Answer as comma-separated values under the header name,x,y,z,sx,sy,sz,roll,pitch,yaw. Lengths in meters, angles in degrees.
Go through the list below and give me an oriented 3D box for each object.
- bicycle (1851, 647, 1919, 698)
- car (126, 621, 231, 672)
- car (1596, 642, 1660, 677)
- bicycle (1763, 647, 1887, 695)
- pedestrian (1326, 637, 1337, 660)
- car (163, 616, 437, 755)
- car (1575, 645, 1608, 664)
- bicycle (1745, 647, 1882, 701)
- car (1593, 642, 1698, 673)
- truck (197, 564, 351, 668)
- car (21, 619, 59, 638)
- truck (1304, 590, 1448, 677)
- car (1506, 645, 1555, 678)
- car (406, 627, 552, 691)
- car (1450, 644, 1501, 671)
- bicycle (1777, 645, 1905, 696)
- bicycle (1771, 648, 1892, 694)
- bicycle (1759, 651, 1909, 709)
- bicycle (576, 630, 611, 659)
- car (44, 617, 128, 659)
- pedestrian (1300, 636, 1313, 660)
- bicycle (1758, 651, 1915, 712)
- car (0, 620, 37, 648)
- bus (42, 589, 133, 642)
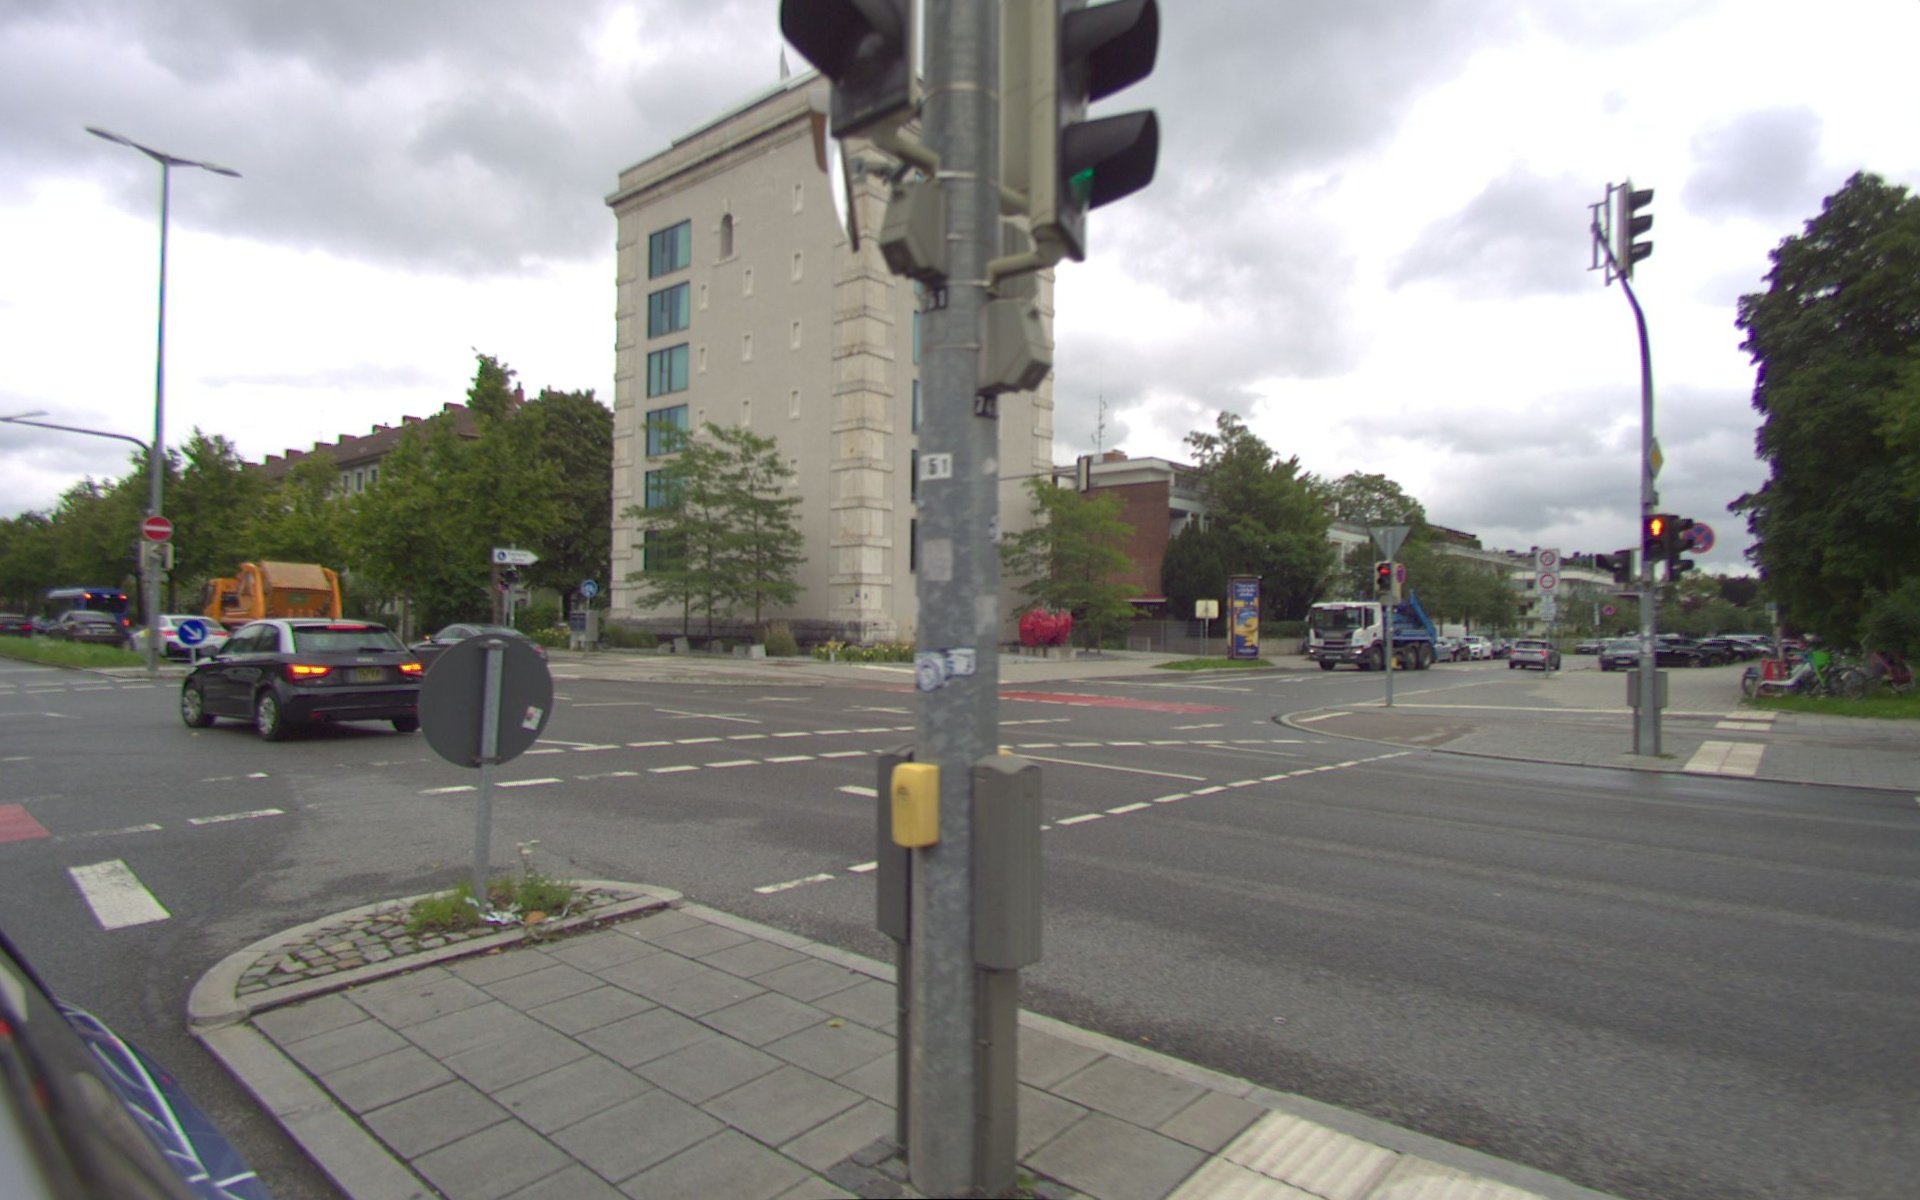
name,x,y,z,sx,sy,sz,roll,pitch,yaw
bicycle,23.593,1.781,24.583,2.882,1.195,0.827,-1,-2,40
car,-24.814,1.436,32.058,4.740,1.498,1.709,-1,-2,41
car,29.848,2.634,45.156,1.844,1.427,4.157,-1,-2,41
bicycle,23.356,1.882,27.400,2.494,1.195,0.827,-1,-2,40
pedestrian,22.532,2.938,61.423,0.543,1.425,0.596,-1,-2,30
car,-8.312,0.960,12.661,3.773,1.498,1.625,-1,-2,36
car,56.900,4.874,91.210,1.926,1.603,4.158,-1,-2,41
bicycle,20.625,1.776,24.538,2.494,1.195,0.827,-1,-2,40
car,34.322,2.855,50.790,4.198,1.427,1.907,-1,-2,30
truck,-24.684,0.596,36.284,7.262,3.382,2.751,-1,-2,41
car,-74.941,2.340,82.444,3.908,1.473,1.833,-1,-1,41
truck,18.357,1.443,44.371,7.703,3.515,2.776,2,-2,-42
car,27.991,3.016,49.623,1.926,1.473,4.317,0,-4,32
car,-11.839,1.416,24.798,4.214,1.427,1.705,-1,-4,42
car,32.685,3.617,64.120,1.926,1.603,4.158,-1,-2,41
bicycle,22.927,1.824,26.419,2.494,1.195,0.827,0,-3,40
bicycle,24.166,1.945,28.123,2.494,1.195,0.827,-1,-2,40
bicycle,19.604,1.771,22.784,2.494,1.195,0.827,-1,-2,40
bicycle,-15.357,1.849,42.438,1.825,1.190,0.539,-1,-2,40
car,-35.459,1.528,41.013,4.747,1.553,1.842,-1,-6,42
pedestrian,20.440,2.827,59.738,0.545,1.425,0.595,0,-1,37
bicycle,18.804,1.720,21.805,2.494,1.195,0.827,-1,-2,40
car,-52.988,1.862,56.158,4.895,1.473,1.906,-1,-4,40
bus,-60.578,1.100,70.140,12.038,3.369,2.717,-1,-3,40
